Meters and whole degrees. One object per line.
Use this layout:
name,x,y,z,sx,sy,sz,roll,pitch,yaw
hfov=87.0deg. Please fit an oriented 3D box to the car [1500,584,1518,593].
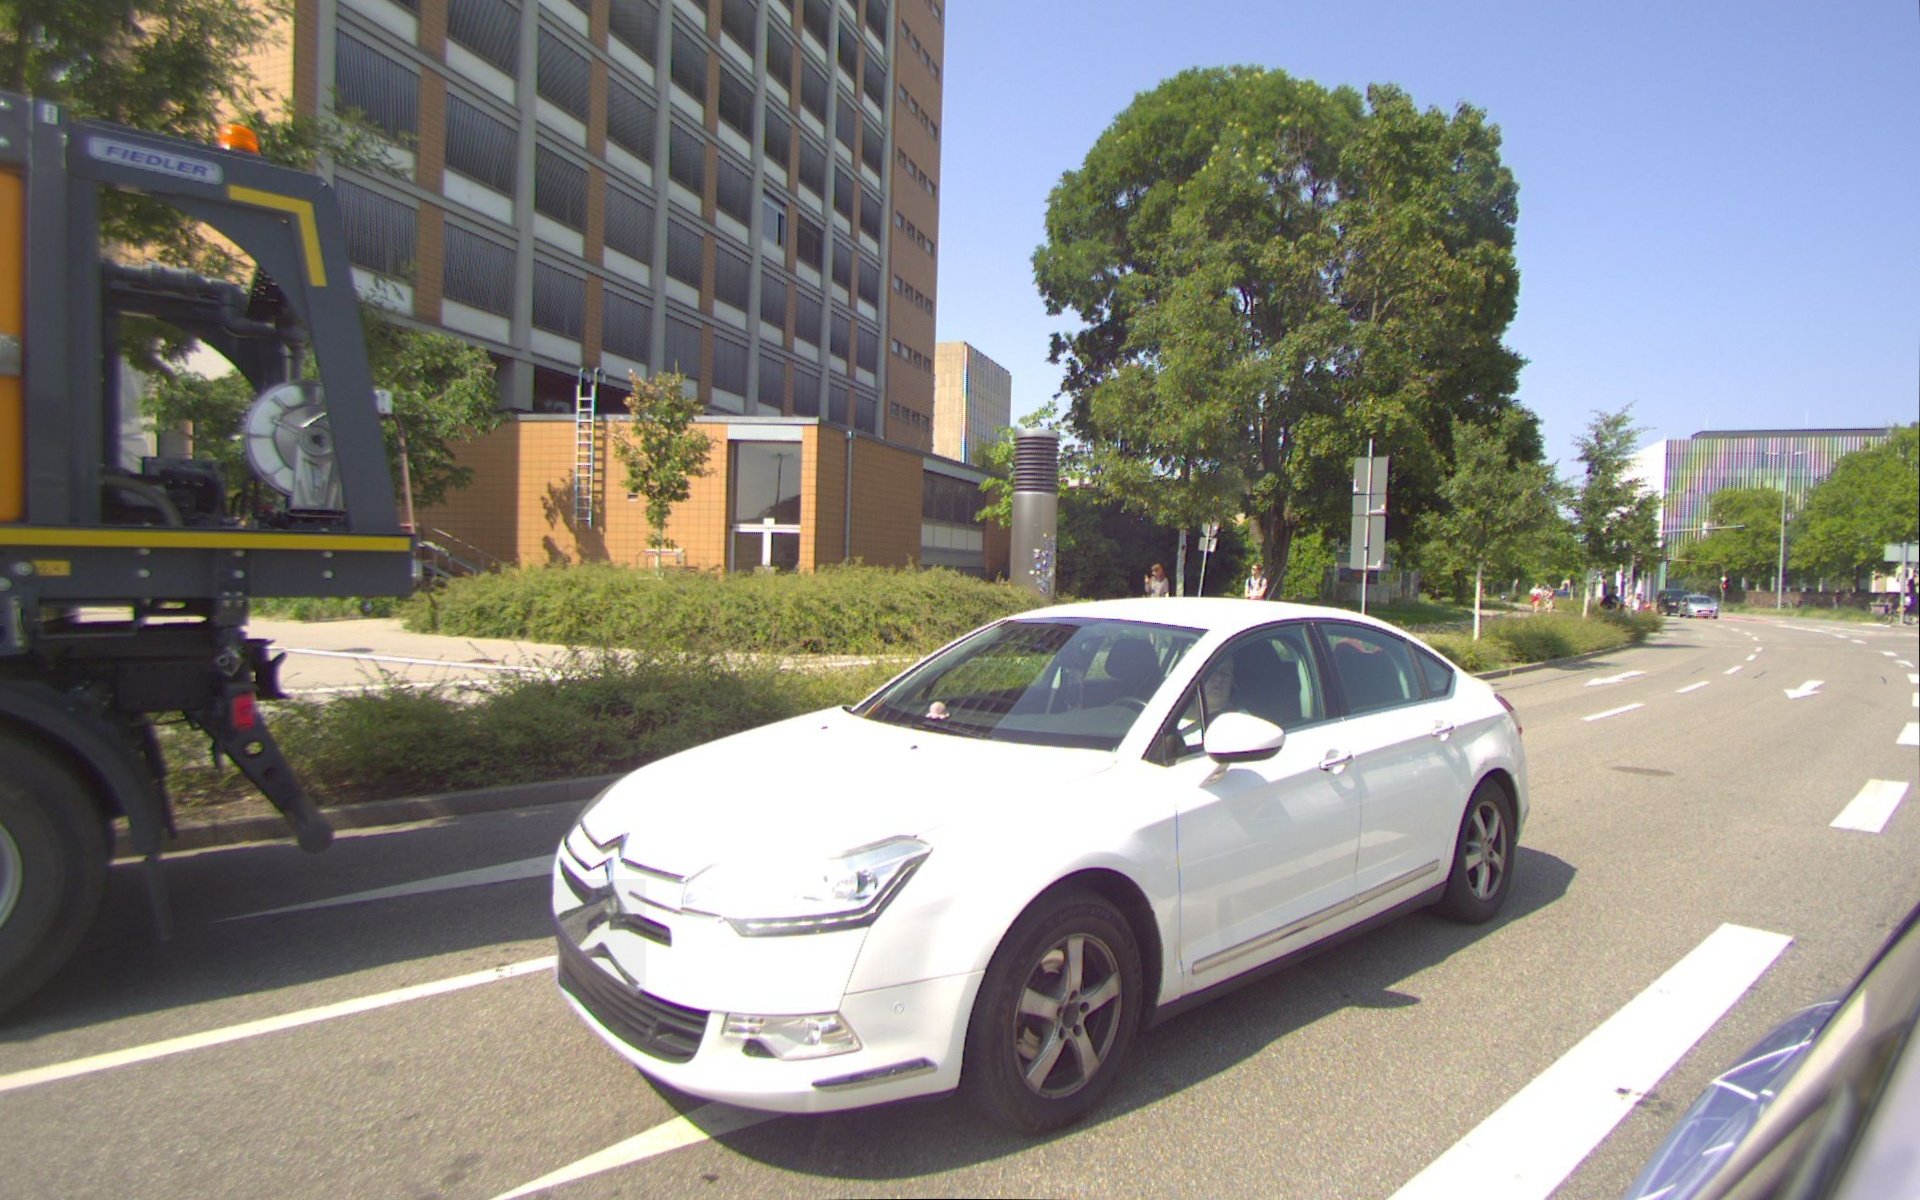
car,97.926,-2.025,180.648,1.849,1.549,4.509,2,2,17

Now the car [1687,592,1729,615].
car,50.961,0.231,68.993,1.644,1.550,4.489,0,0,28

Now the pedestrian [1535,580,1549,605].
pedestrian,30.165,-0.378,52.459,0.628,1.315,0.482,0,0,27

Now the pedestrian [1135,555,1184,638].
pedestrian,4.228,-0.085,21.480,0.670,1.720,0.793,2,1,43

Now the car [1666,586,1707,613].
car,54.207,-0.071,75.573,1.874,1.943,4.489,1,1,28

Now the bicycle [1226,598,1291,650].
bicycle,6.072,0.470,20.555,1.751,0.992,0.357,0,1,-41

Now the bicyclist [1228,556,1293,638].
bicyclist,6.105,-0.075,20.579,0.908,1.625,0.903,0,1,-42

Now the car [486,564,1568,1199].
car,0.703,0.631,4.194,4.529,1.446,1.772,0,2,-41

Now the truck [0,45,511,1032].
truck,-5.274,-0.200,3.100,6.736,3.174,2.498,0,0,-39

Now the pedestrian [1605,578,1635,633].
pedestrian,23.595,0.199,36.202,0.818,1.926,0.622,2,1,37

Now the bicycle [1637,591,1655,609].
bicycle,47.102,-0.008,69.489,2.199,1.183,0.593,0,2,-45

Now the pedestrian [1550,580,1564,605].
pedestrian,30.818,-0.379,52.263,0.571,1.315,0.433,0,0,26
